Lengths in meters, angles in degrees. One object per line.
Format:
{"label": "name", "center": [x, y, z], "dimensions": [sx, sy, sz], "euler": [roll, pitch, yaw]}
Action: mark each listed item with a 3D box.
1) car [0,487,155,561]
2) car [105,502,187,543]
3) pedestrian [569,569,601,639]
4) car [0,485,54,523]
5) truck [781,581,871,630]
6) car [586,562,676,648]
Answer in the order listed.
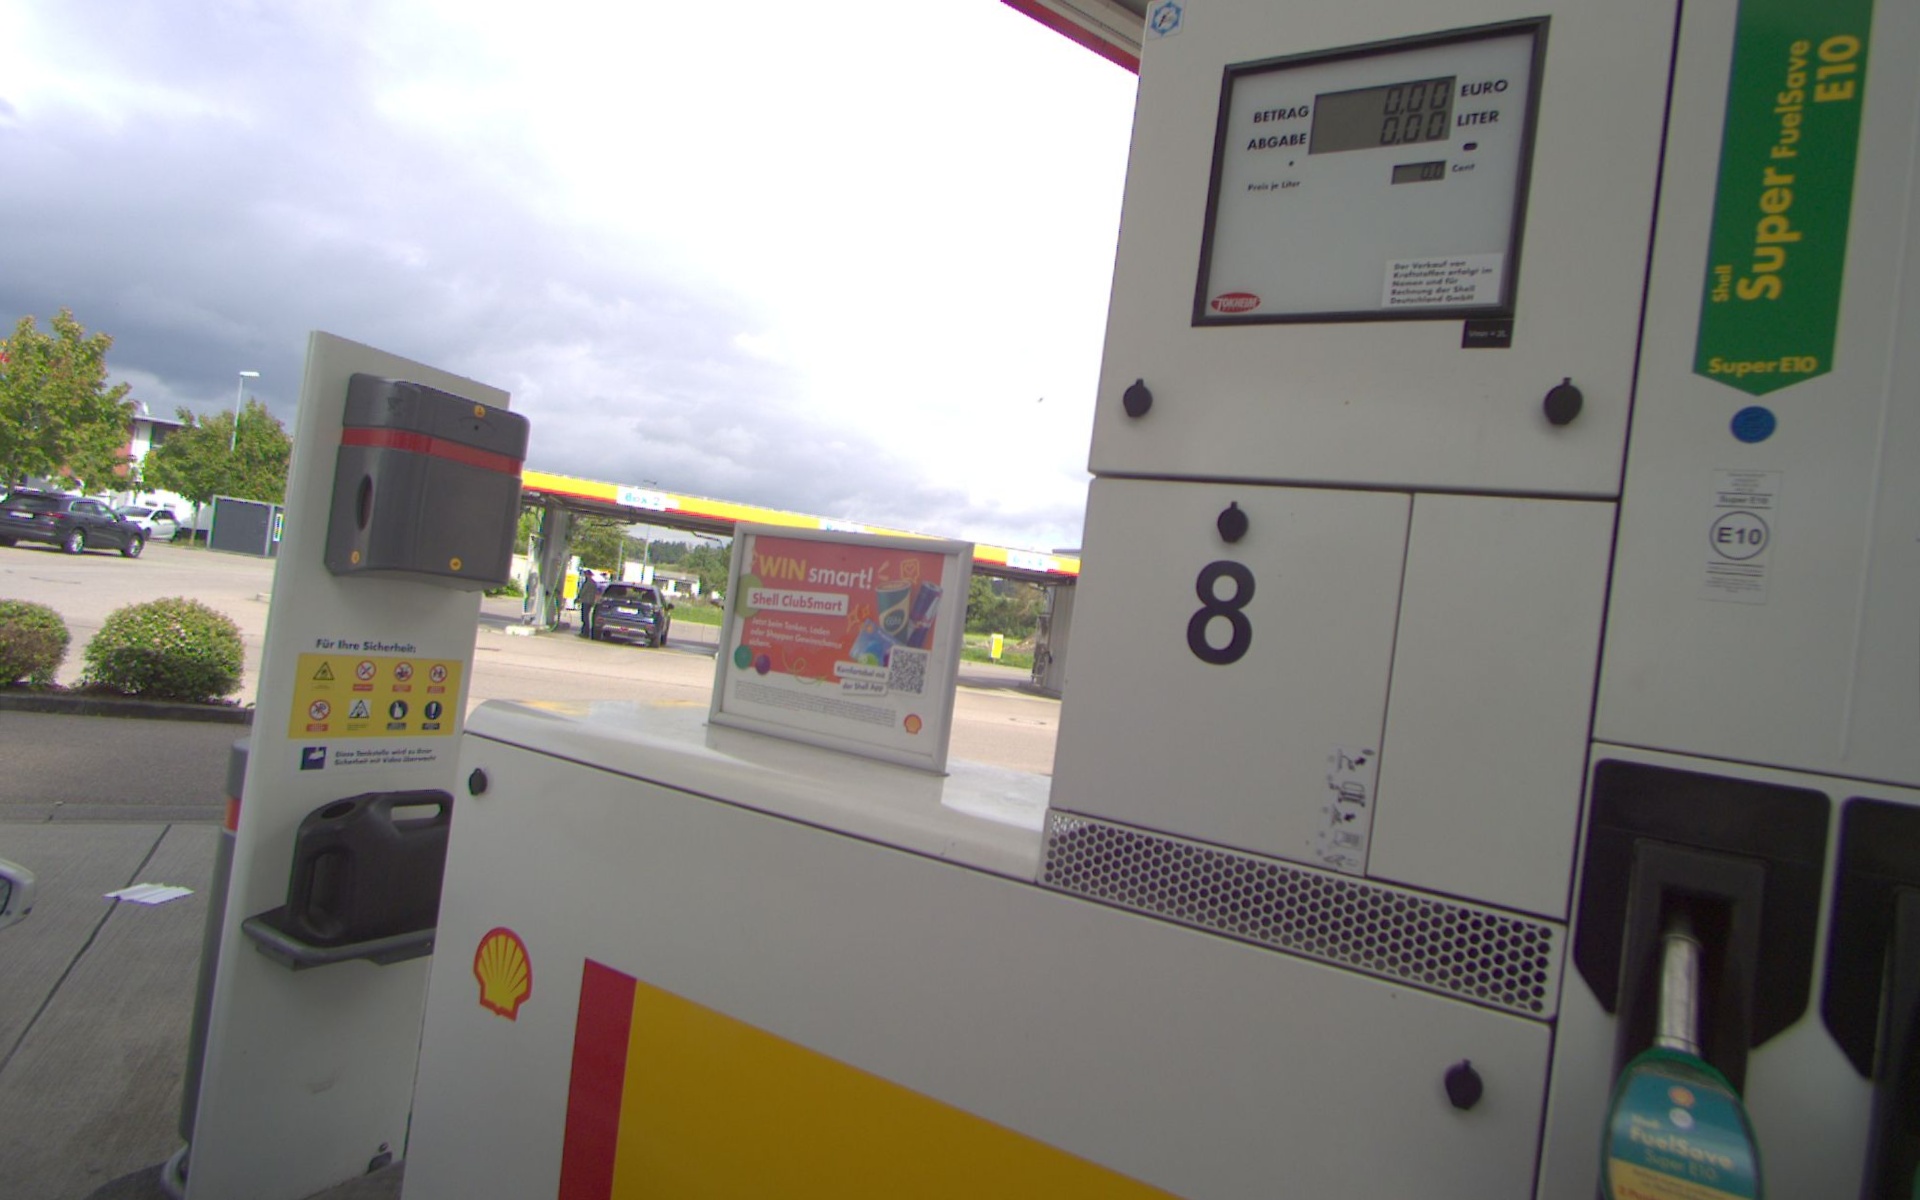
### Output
{"label": "car", "center": [-25.932, -2.162, 29.278], "dimensions": [1.855, 1.566, 4.498], "euler": [8, -2, -10]}
{"label": "car", "center": [-35.261, -3.335, 43.664], "dimensions": [1.346, 1.322, 3.098], "euler": [8, -2, -12]}
{"label": "pedestrian", "center": [-9.747, 0.097, 26.143], "dimensions": [0.550, 1.742, 0.526], "euler": [7, -1, -21]}
{"label": "car", "center": [-57.360, -5.895, 60.262], "dimensions": [2.149, 1.854, 4.870], "euler": [8, -2, -11]}
{"label": "truck", "center": [-13.011, 0.550, 97.523], "dimensions": [7.978, 3.575, 2.687], "euler": [8, -2, -19]}
{"label": "car", "center": [-8.700, 0.152, 26.878], "dimensions": [1.696, 1.919, 3.800], "euler": [8, -2, -12]}
